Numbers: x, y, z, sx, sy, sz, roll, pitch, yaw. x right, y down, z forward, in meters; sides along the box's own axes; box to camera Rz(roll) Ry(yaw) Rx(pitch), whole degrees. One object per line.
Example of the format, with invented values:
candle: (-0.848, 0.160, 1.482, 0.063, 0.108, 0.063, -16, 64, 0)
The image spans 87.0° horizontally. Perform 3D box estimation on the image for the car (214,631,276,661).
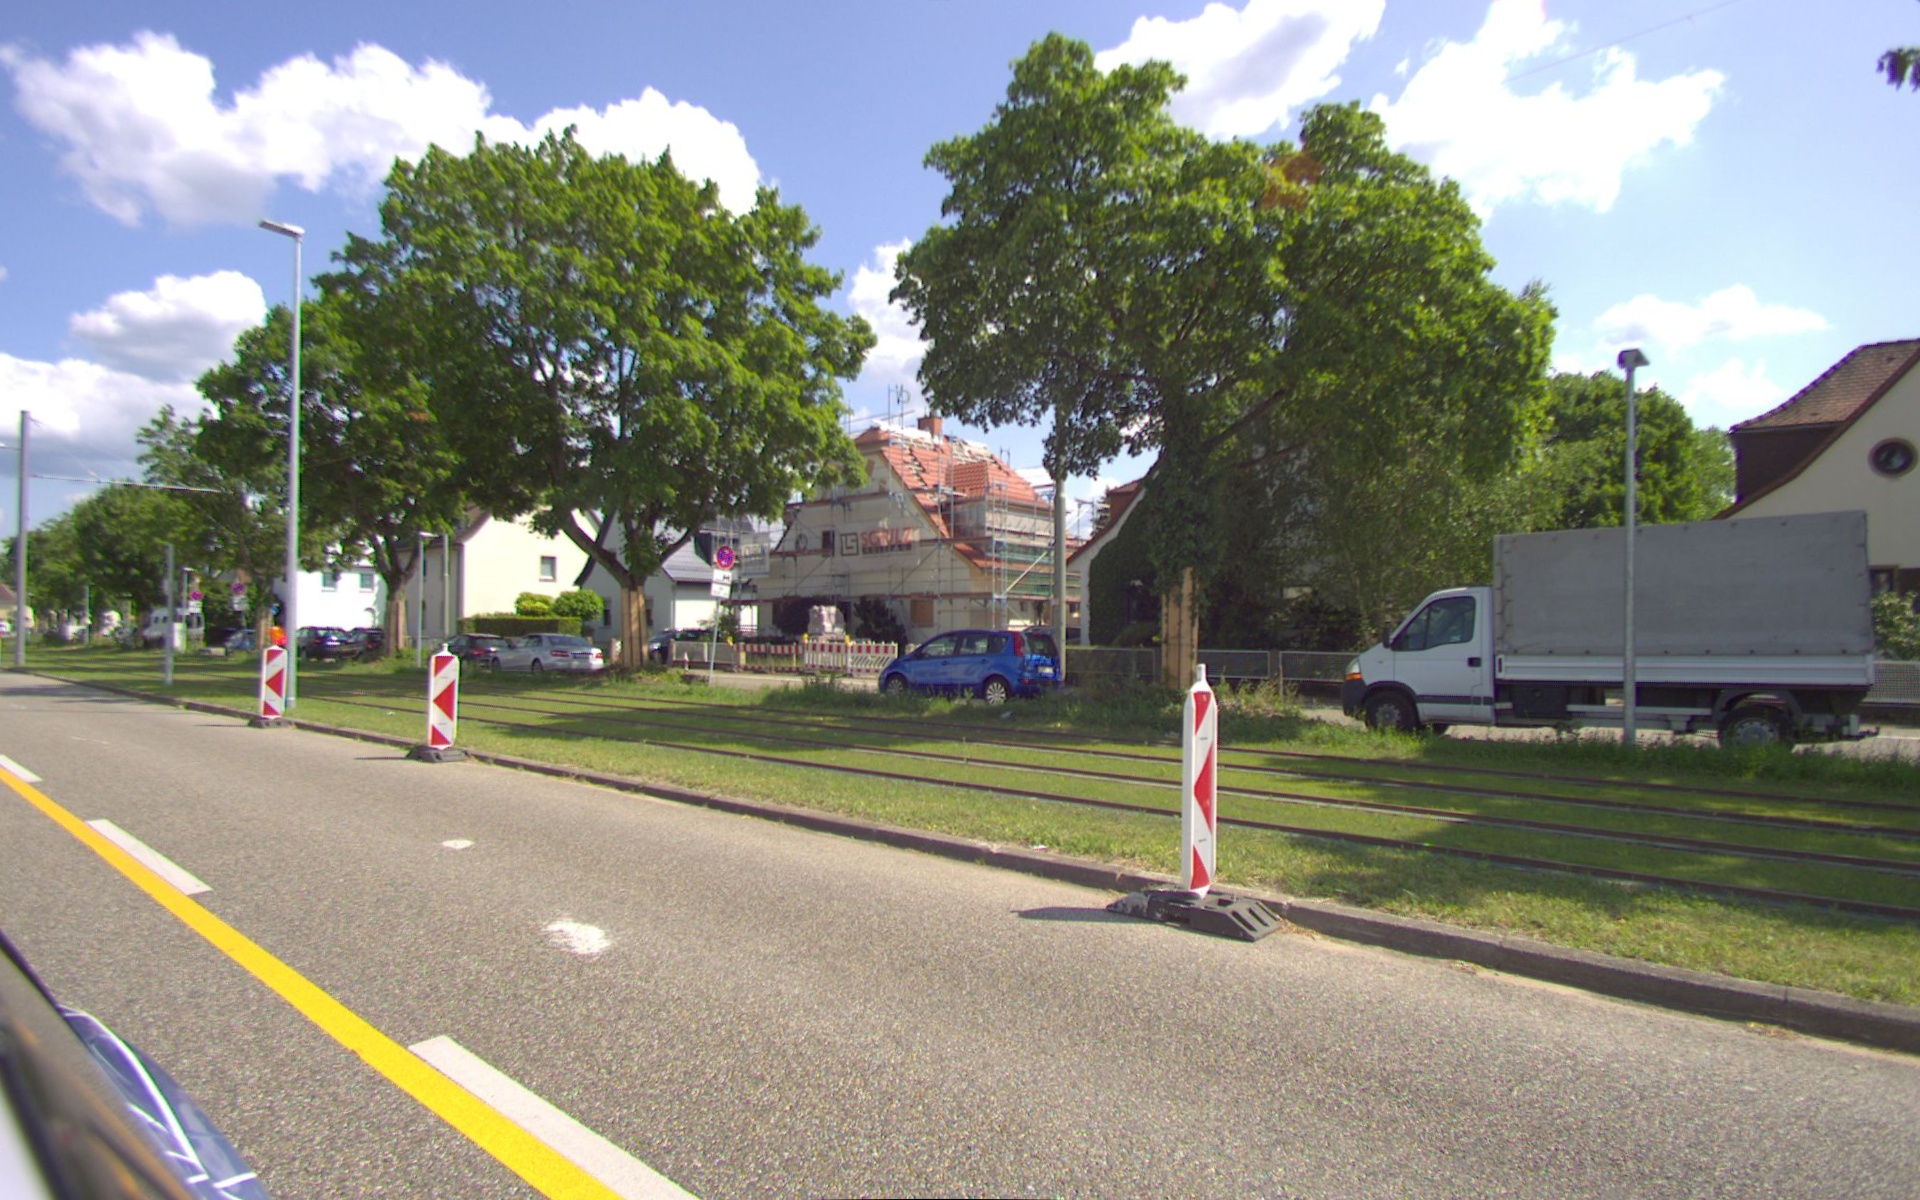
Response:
car: (-37.494, 2.428, 53.051, 4.403, 1.497, 1.680, -3, -3, 41)

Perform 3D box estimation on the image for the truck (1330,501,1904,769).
truck: (8.299, 0.454, 13.404, 5.971, 2.802, 2.242, -2, -3, 41)

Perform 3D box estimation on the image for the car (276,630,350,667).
car: (-29.495, 2.225, 46.076, 4.403, 1.584, 1.680, -3, -3, 41)

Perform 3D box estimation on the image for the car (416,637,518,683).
car: (-17.521, 2.119, 35.895, 4.403, 1.497, 1.680, -3, -3, 41)

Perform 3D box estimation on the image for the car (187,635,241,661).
car: (-44.478, 2.876, 60.331, 4.403, 1.497, 1.680, -3, -3, 41)

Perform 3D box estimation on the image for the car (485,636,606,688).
car: (-13.099, 1.931, 31.840, 4.520, 1.497, 1.765, -4, -3, 42)

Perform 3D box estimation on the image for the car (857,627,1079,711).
car: (0.065, 1.352, 20.281, 4.403, 1.497, 1.680, -3, -3, 41)

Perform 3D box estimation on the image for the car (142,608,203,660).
car: (-49.517, 2.162, 63.608, 5.080, 3.061, 2.108, -3, -3, 41)

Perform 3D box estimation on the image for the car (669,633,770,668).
car: (-10.927, 2.292, 46.212, 1.702, 1.497, 4.345, -3, -3, 41)

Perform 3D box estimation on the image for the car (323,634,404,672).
car: (-25.180, 2.253, 42.652, 4.403, 1.497, 1.680, -3, -3, 41)
